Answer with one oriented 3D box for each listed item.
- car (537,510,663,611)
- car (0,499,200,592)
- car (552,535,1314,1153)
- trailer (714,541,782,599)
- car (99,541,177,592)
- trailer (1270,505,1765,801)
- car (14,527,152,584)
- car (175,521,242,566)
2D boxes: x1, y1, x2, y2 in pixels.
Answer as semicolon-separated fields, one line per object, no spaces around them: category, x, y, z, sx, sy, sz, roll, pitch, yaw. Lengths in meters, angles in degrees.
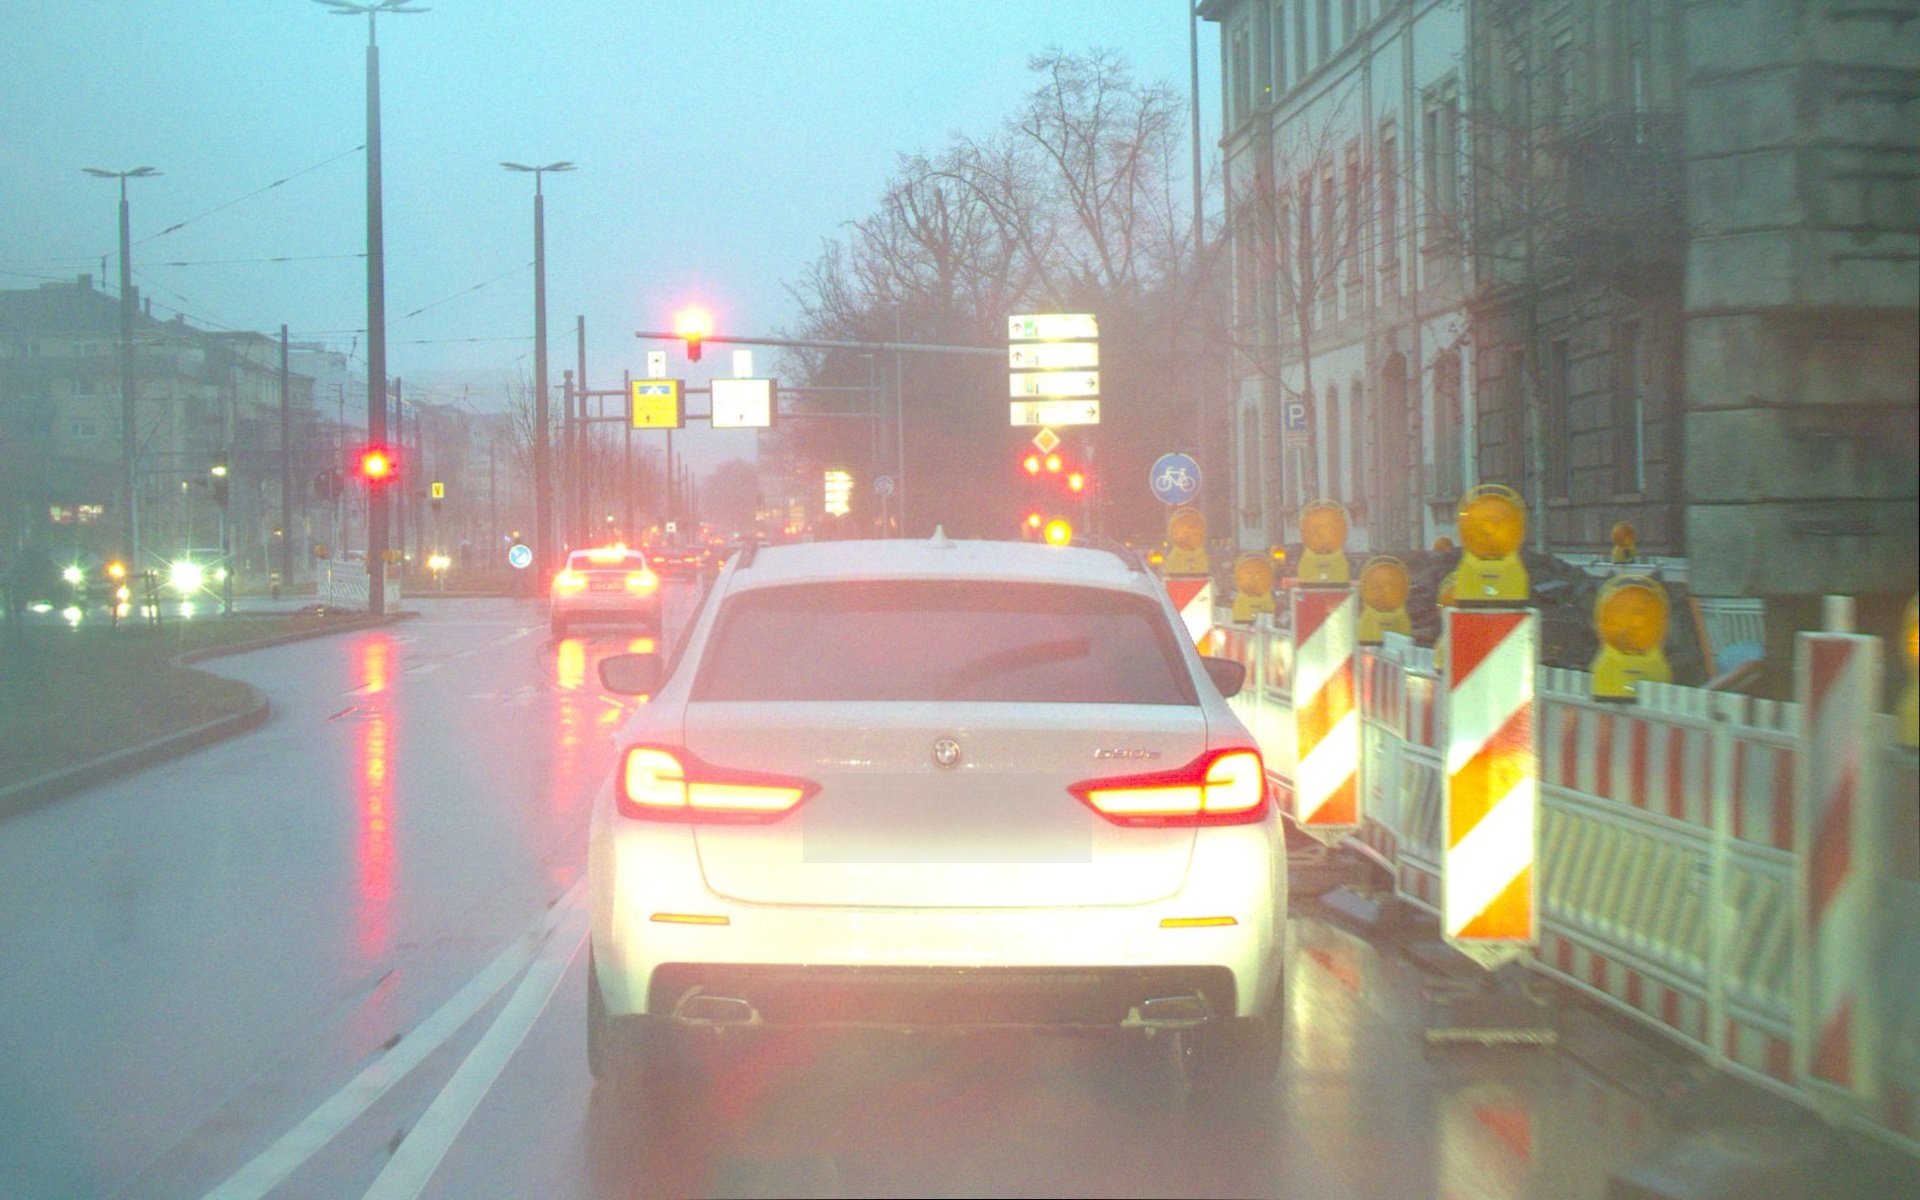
car;-6.009;-0.688;57.712;1.901;1.636;4.001;0;1;-3
car;-18.599;-1.199;74.246;3.986;1.968;2.001;-1;1;-22
car;-0.226;0.541;10.818;1.851;1.460;4.948;0;1;-4
trailer;-6.229;-0.900;100.556;1.834;1.637;4.001;0;1;-6
car;-27.385;-1.141;114.617;1.857;1.634;4.033;0;1;-3
trailer;3.097;0.206;20.134;1.835;1.485;4.848;-1;2;-3
car;-23.451;-1.195;91.914;3.538;1.487;1.741;1;2;37
car;-28.449;-2.143;130.171;1.560;1.653;3.395;0;1;5
